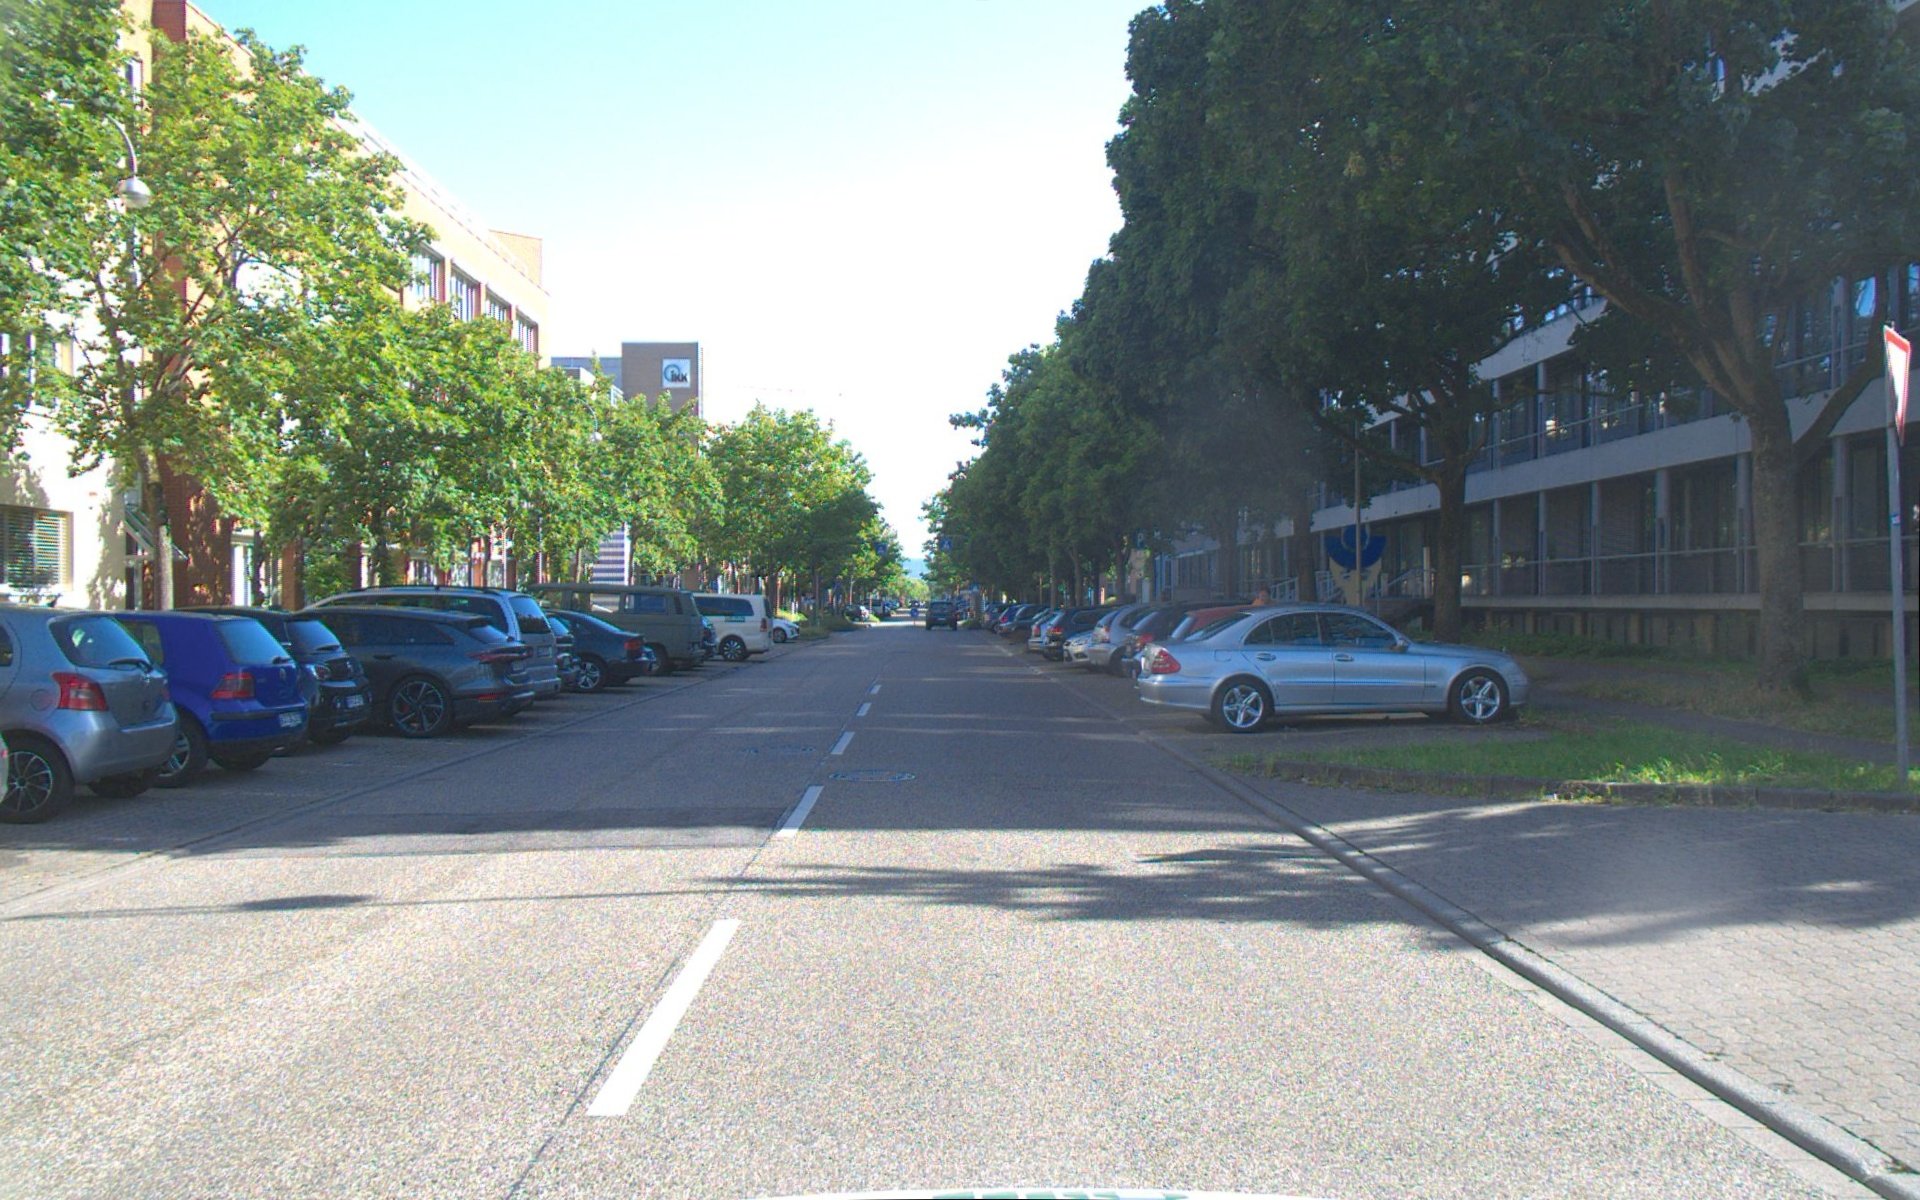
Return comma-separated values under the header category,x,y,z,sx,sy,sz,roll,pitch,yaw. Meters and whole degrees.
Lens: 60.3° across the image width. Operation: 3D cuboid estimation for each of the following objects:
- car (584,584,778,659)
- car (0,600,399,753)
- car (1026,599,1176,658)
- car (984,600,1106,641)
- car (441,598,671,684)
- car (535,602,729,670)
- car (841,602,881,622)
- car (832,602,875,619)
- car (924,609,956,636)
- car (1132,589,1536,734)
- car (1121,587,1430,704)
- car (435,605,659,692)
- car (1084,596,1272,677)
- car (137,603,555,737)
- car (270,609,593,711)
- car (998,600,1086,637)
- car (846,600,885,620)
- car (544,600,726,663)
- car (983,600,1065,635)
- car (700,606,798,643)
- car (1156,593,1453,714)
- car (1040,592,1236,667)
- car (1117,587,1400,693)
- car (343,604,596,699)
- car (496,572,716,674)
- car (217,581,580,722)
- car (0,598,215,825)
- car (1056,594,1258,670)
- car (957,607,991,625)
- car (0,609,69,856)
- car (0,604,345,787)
category,x,y,z,sx,sy,sz,roll,pitch,yaw
car,-7.874,0.604,47.032,5.151,2.001,1.942,1,0,-1
car,-8.034,0.764,17.371,3.651,1.452,1.772,1,0,-2
car,3.841,0.778,45.496,3.891,1.445,1.709,-2,0,-3
car,3.429,0.823,67.322,4.729,1.445,2.031,-2,0,-3
car,-7.838,0.775,32.339,4.048,1.554,1.725,1,0,-1
car,-7.828,0.844,39.738,4.231,1.503,1.943,1,0,1
car,-10.216,1.241,171.447,3.903,2.049,2.001,-1,0,3
car,-9.651,0.971,150.037,3.775,1.499,1.810,1,-1,-7
car,-1.279,1.405,104.898,1.953,1.668,3.999,1,0,-1
car,4.452,0.722,20.160,4.485,1.501,1.746,-2,0,-1
car,4.770,0.674,25.525,4.421,1.569,1.922,-2,0,3
car,-7.320,0.852,29.601,3.655,1.452,1.722,1,0,-7
car,4.582,0.755,35.055,3.670,1.519,1.615,-2,0,-5
car,-7.227,0.812,19.806,4.315,1.452,1.771,1,0,-3
car,-7.800,0.877,24.692,4.234,1.382,1.756,1,0,-2
car,3.731,0.850,75.748,3.868,1.541,1.812,-2,0,0
car,-10.009,1.081,174.828,3.903,2.049,2.001,-1,0,3
car,-8.290,0.788,42.454,4.231,1.503,1.943,1,0,1
car,3.459,0.960,89.991,4.265,1.733,1.811,-2,0,-4
car,-8.848,1.018,69.536,3.907,1.512,1.806,0,0,-2
car,4.716,0.723,23.074,3.758,1.472,1.922,-2,0,3
car,4.264,0.701,40.099,4.498,1.519,1.762,-3,0,-1
car,4.990,0.664,28.083,4.423,1.569,1.922,-2,0,0
car,-8.028,0.827,27.318,3.651,1.452,1.724,1,0,-2
car,-7.867,0.505,37.056,4.395,2.126,2.083,1,0,1
car,-7.482,0.679,22.392,4.235,1.747,1.961,1,0,-3
car,-7.780,0.746,12.242,3.651,1.535,1.859,1,0,-2
car,4.429,0.707,37.597,4.202,1.519,2.002,-2,0,-5
car,1.599,1.865,194.047,3.907,2.049,1.999,-1,0,-3
car,-7.565,0.762,9.679,3.653,1.472,1.858,1,0,-5
car,-7.587,0.790,14.545,3.651,1.452,1.840,1,0,-2
